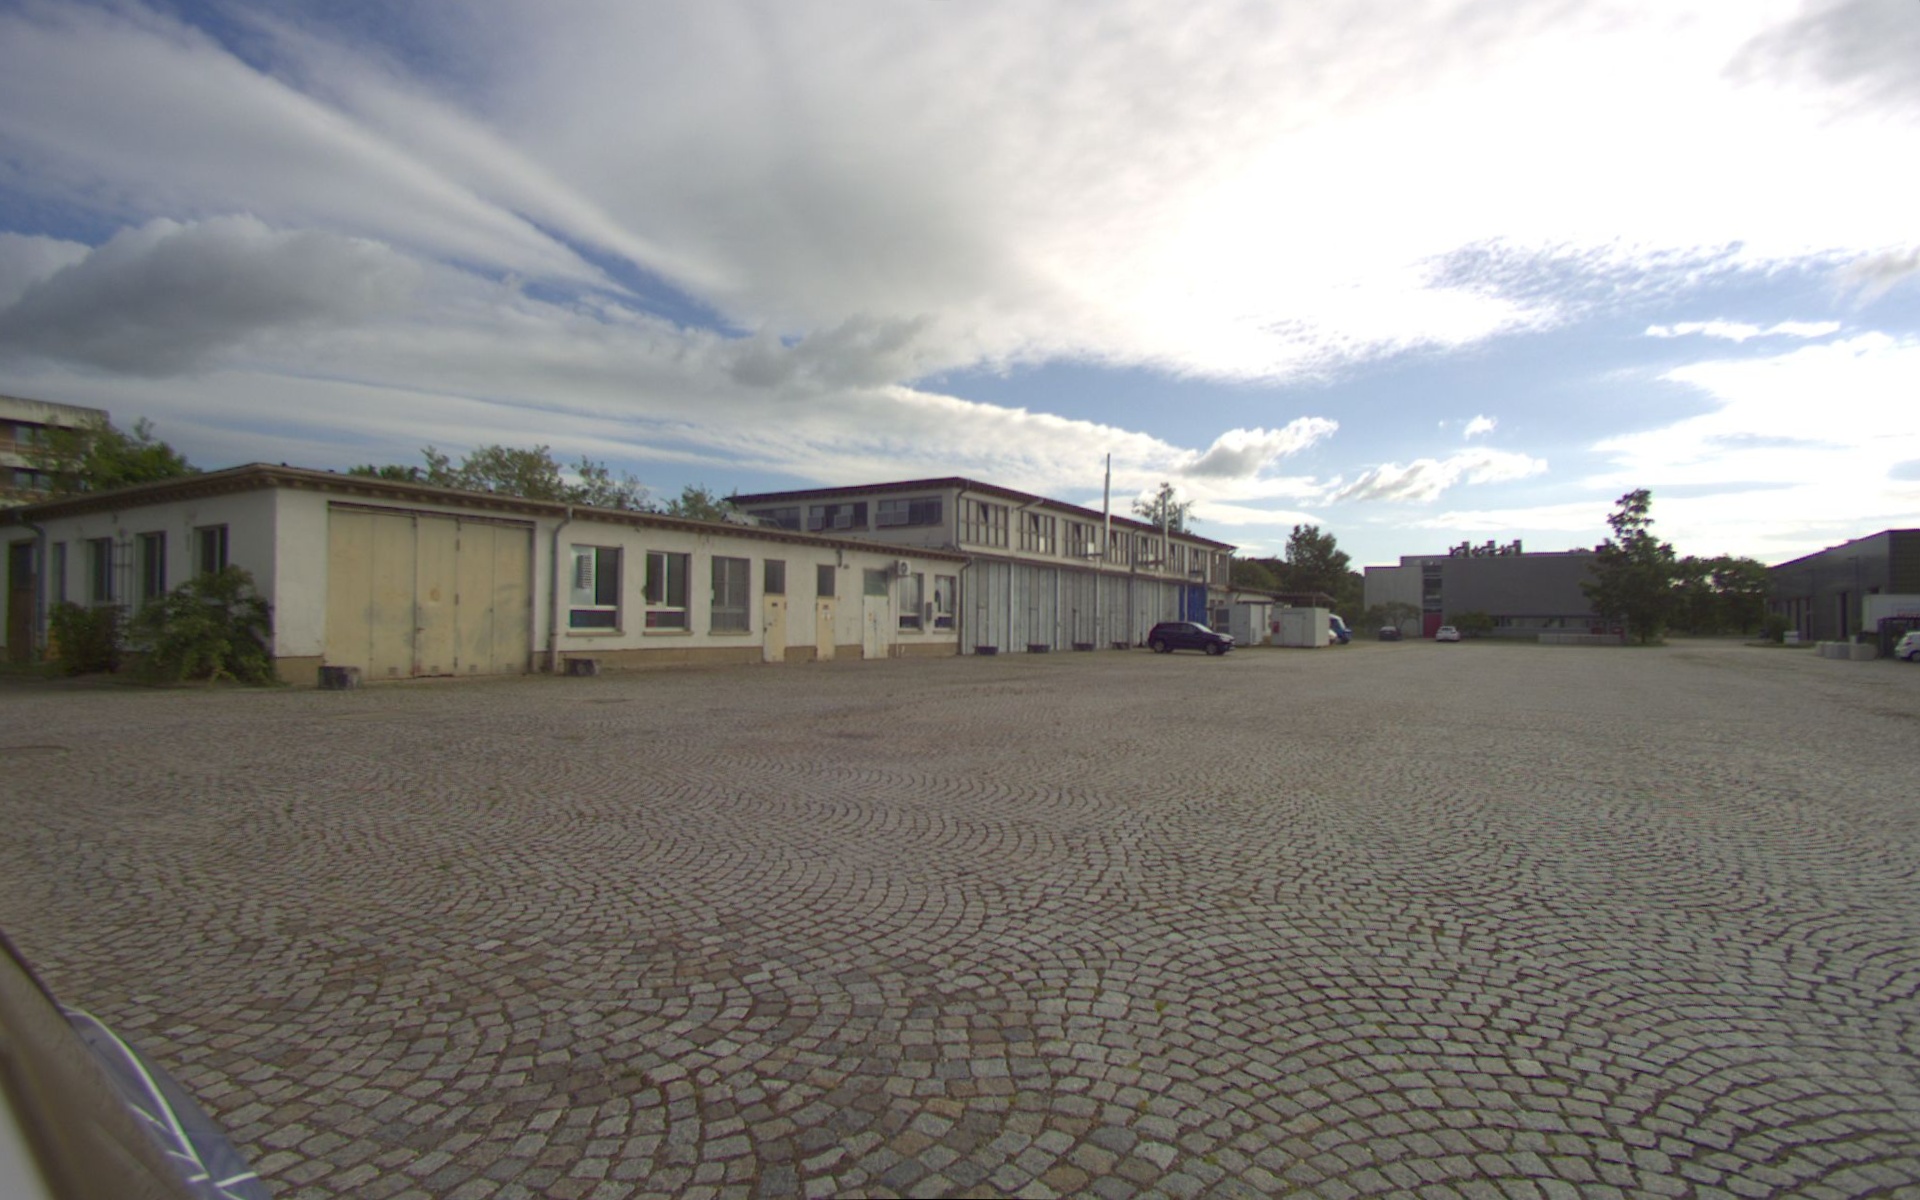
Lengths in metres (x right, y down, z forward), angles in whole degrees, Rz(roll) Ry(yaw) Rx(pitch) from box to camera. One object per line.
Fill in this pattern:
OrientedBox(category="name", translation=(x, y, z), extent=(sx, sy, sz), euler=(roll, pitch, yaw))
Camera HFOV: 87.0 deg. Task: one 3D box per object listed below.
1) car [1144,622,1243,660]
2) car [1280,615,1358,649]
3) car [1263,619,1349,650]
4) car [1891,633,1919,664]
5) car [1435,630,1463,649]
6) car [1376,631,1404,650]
OrientedBox(category="car", translation=(11.642, 2.024, 50.487), extent=(4.420, 1.770, 1.979), euler=(-1, -5, 31))
OrientedBox(category="car", translation=(29.081, 2.571, 82.027), extent=(5.610, 2.635, 2.426), euler=(-1, -2, 31))
OrientedBox(category="car", translation=(25.382, 2.500, 74.283), extent=(5.610, 2.236, 2.426), euler=(-1, -2, 31))
OrientedBox(category="car", translation=(48.131, 2.357, 49.119), extent=(3.985, 1.503, 1.979), euler=(-1, -2, 31))
OrientedBox(category="car", translation=(47.366, 3.837, 98.011), extent=(2.146, 1.824, 3.958), euler=(-1, -2, 31))
OrientedBox(category="car", translation=(42.667, 4.002, 100.418), extent=(1.993, 1.824, 3.958), euler=(-1, -2, 31))
